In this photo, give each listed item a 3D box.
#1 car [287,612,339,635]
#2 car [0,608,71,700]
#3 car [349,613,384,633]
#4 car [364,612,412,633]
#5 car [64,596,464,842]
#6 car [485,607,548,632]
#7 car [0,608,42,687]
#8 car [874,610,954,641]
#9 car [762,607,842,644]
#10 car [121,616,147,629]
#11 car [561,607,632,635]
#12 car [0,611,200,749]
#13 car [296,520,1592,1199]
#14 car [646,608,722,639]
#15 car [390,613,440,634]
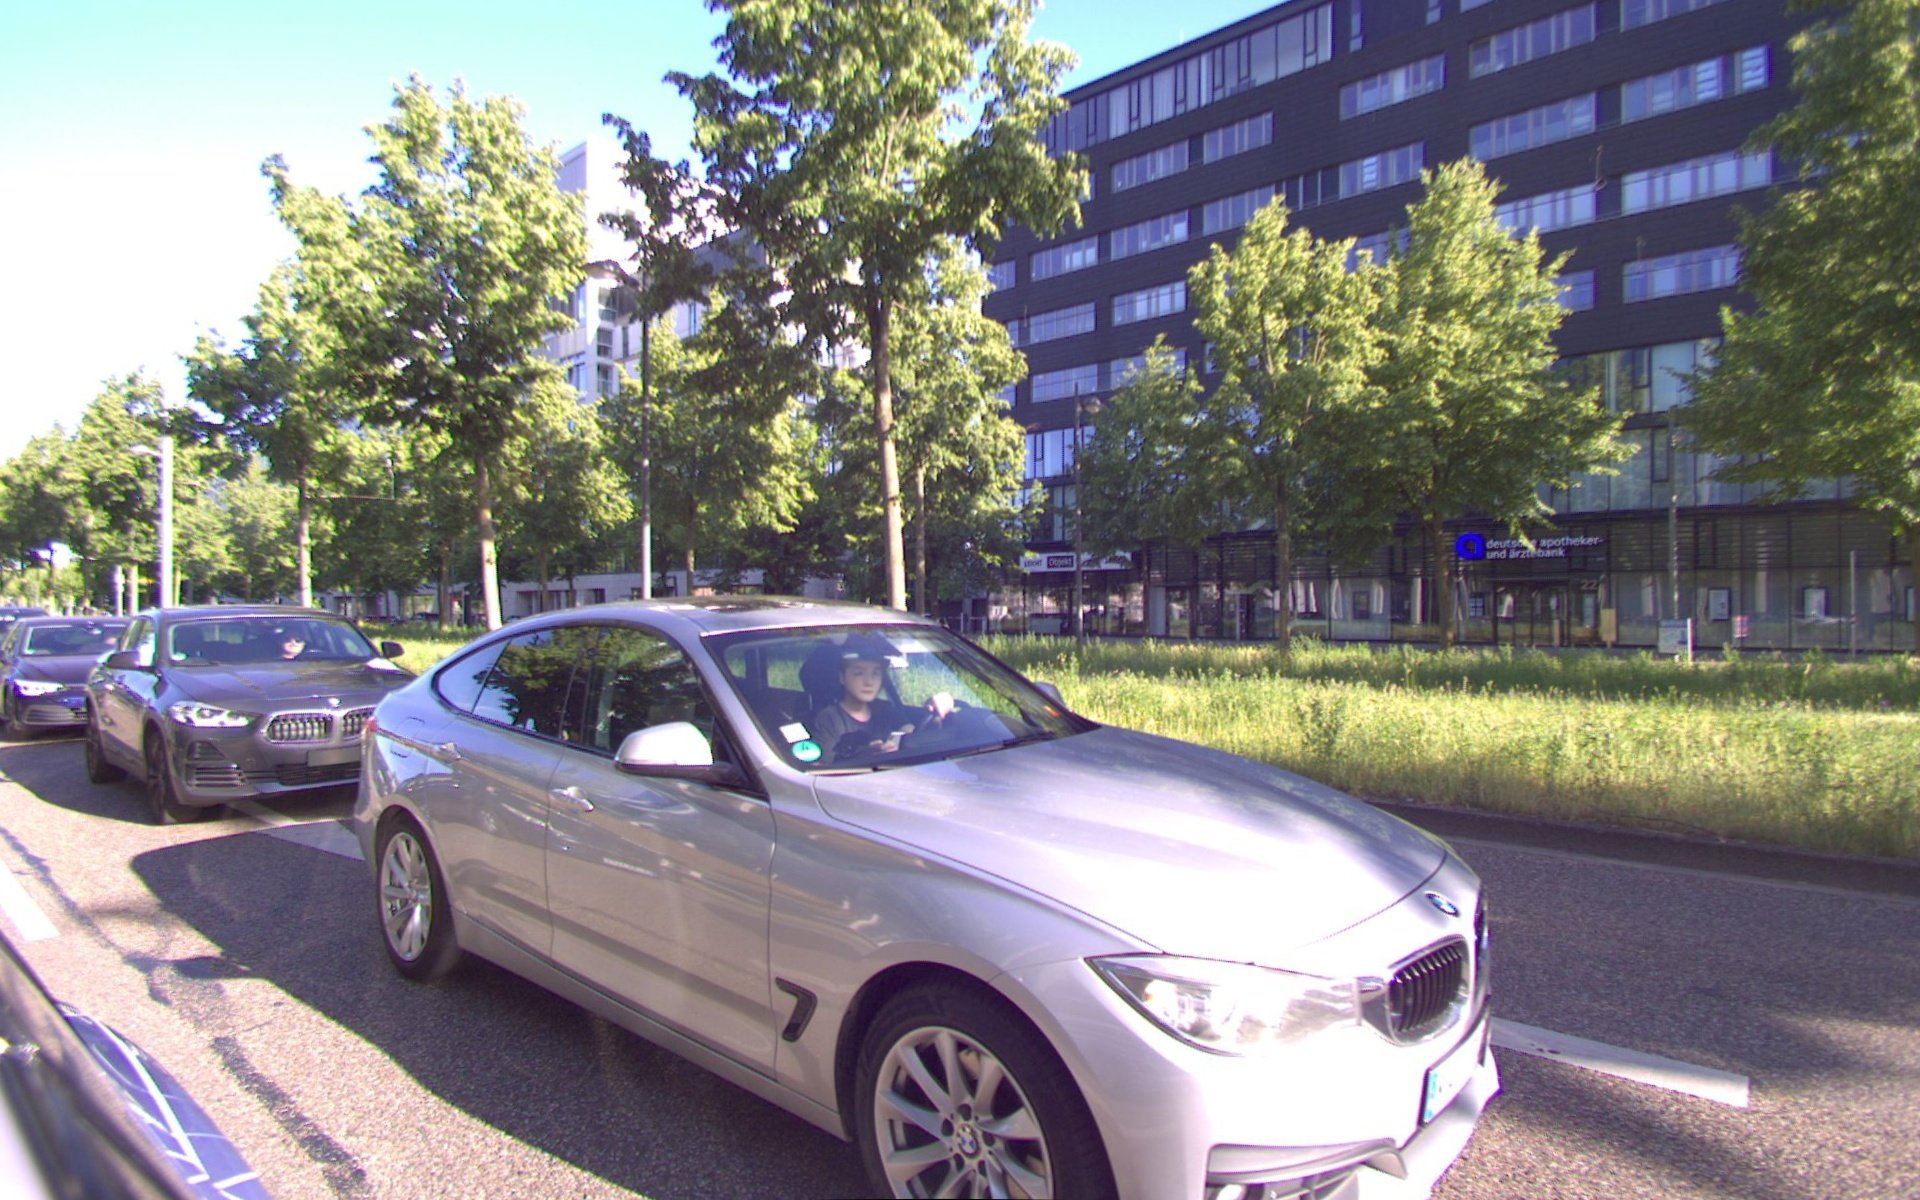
[{"bbox_3d":[-45.503,1.653,71.142,4.733,1.549,1.834,-1,-1,41],"label":"car"},{"bbox_3d":[-18.215,0.962,19.054,4.164,1.602,1.788,-1,-1,42],"label":"car"},{"bbox_3d":[-52.443,2.015,89.413,3.741,1.682,1.581,-1,-1,41],"label":"car"},{"bbox_3d":[-48.787,1.930,86.263,4.788,1.711,1.986,-1,-1,40],"label":"car"},{"bbox_3d":[-5.857,0.767,8.334,4.027,1.534,1.789,-1,-1,41],"label":"car"},{"bbox_3d":[-31.147,1.380,71.064,4.785,1.711,1.988,-1,-1,38],"label":"car"},{"bbox_3d":[-23.013,1.066,23.427,4.788,1.711,1.986,-1,-1,40],"label":"car"},{"bbox_3d":[-2.381,1.258,51.583,3.998,1.516,1.734,-1,-1,42],"label":"car"},{"bbox_3d":[-7.950,1.267,50.695,3.998,1.762,1.834,-1,-1,41],"label":"car"},{"bbox_3d":[-94.150,2.579,115.328,3.998,1.403,1.644,-1,-1,41],"label":"car"},{"bbox_3d":[-23.175,1.344,64.489,4.785,1.711,1.988,-1,-1,38],"label":"car"},{"bbox_3d":[-11.253,0.884,12.862,4.253,1.465,1.789,-1,-1,42],"label":"car"},{"bbox_3d":[-0.603,0.664,3.697,4.739,1.500,1.790,-1,-1,40],"label":"car"},{"bbox_3d":[-15.756,1.326,57.588,4.790,1.697,1.834,-1,-1,41],"label":"car"},{"bbox_3d":[-44.402,1.899,82.461,4.788,1.711,1.986,-1,-1,40],"label":"car"}]
